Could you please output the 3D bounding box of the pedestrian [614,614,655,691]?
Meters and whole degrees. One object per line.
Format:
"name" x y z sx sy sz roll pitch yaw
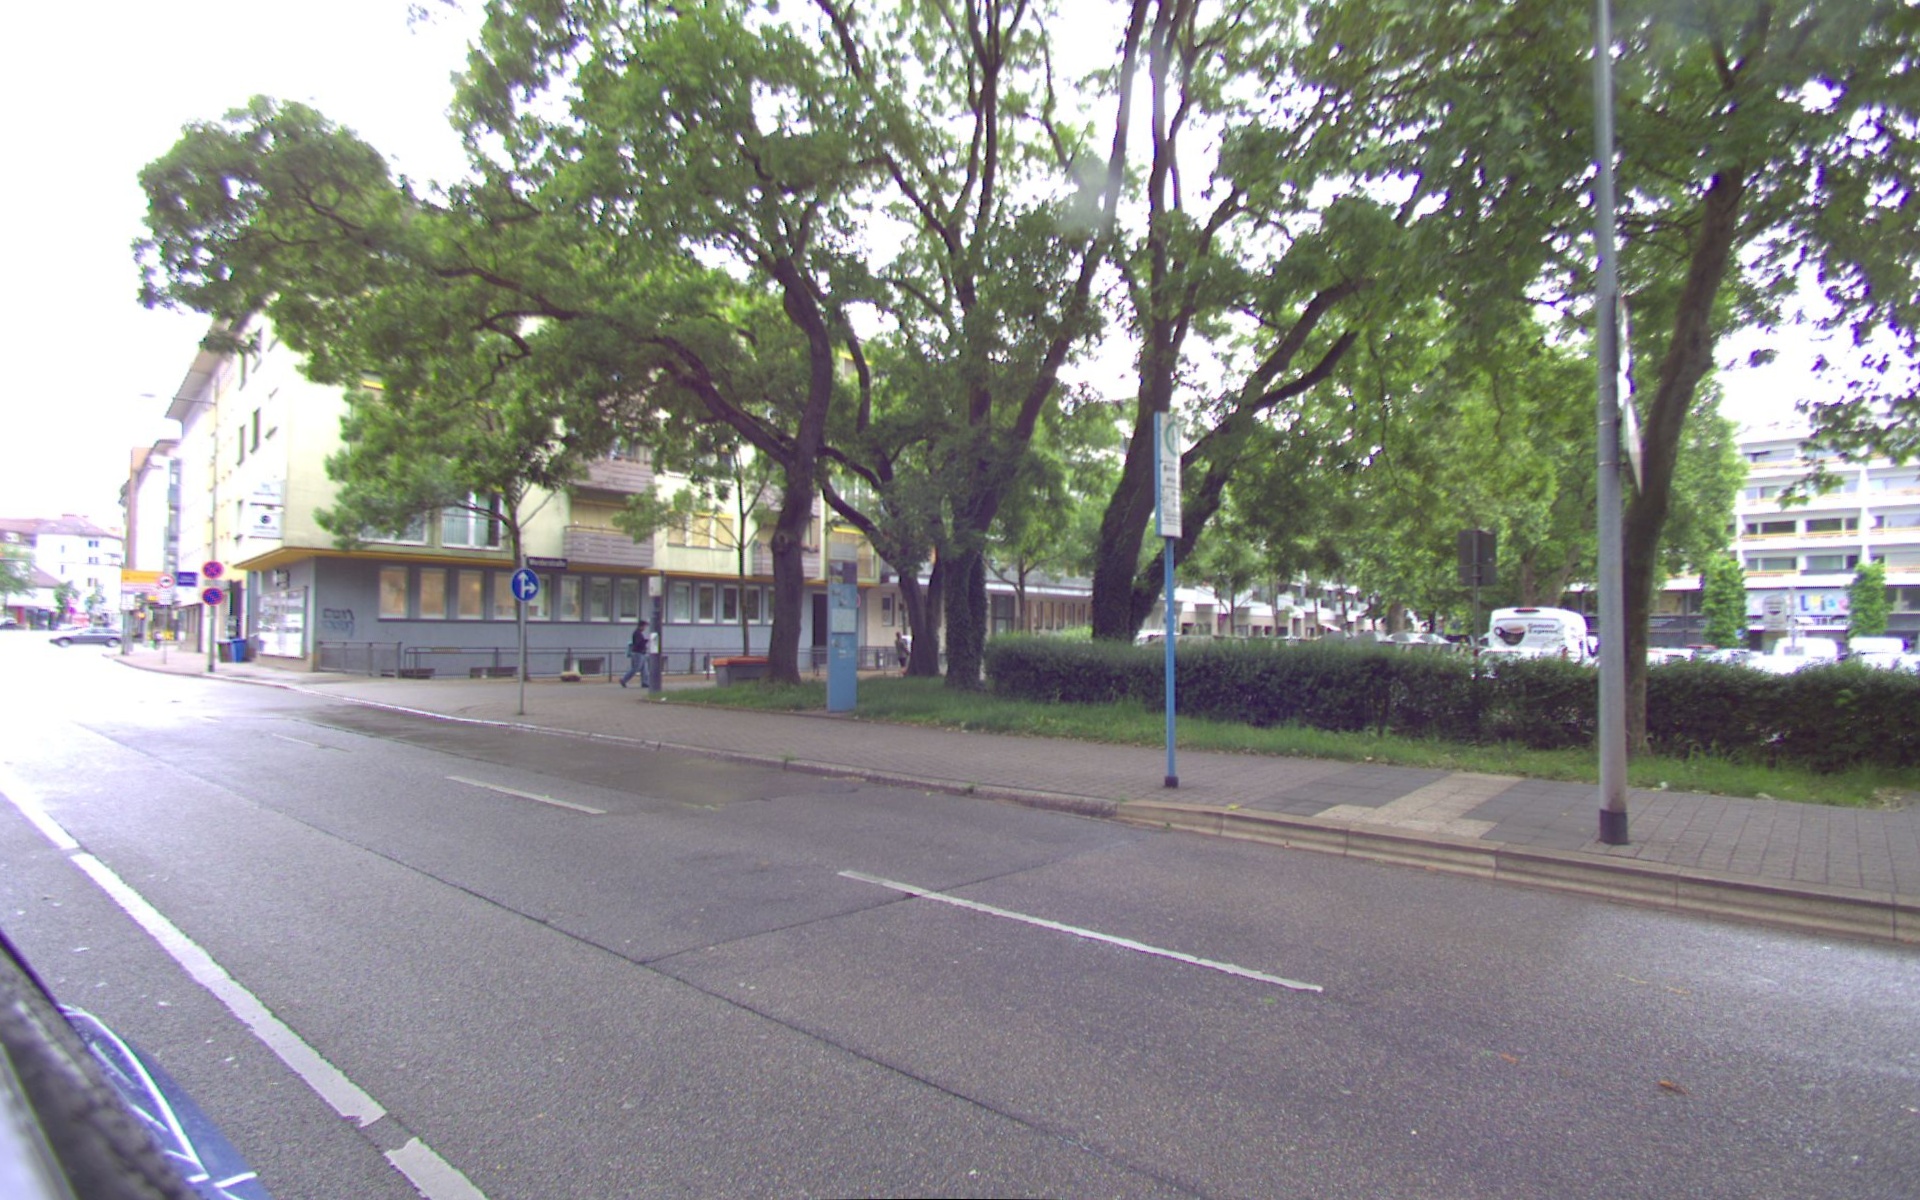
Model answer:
"pedestrian" -8.766 1.400 27.275 0.746 2.029 0.778 0 -2 16

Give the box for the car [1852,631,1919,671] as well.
"car" 40.324 2.177 44.149 1.895 1.497 3.948 -1 0 39

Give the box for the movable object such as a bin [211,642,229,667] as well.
"movable object such as a bin" -31.703 2.340 43.361 0.510 1.008 0.524 -3 1 -42

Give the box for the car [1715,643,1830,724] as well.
"car" 18.608 1.826 23.208 1.895 1.497 3.948 -1 0 39

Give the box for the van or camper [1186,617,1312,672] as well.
"van or camper" 14.241 2.153 49.302 2.561 2.420 8.535 -2 -3 41

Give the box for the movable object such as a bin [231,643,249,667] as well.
"movable object such as a bin" -29.748 2.270 41.822 0.522 0.968 0.435 -3 1 -42

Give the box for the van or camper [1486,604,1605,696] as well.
"van or camper" 16.930 1.412 29.174 2.099 2.450 4.280 -2 -3 42

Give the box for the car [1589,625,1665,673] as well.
"car" 24.055 1.708 36.433 1.895 1.497 3.948 -1 0 39

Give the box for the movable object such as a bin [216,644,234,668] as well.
"movable object such as a bin" -30.744 2.347 42.344 0.521 0.935 0.426 -3 1 -42

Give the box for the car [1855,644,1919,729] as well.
"car" 20.505 1.793 21.600 1.895 1.497 3.948 -1 0 39

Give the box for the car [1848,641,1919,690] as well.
"car" 33.357 2.315 36.452 1.895 1.497 3.948 -1 0 39

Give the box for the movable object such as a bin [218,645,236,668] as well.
"movable object such as a bin" -30.358 2.345 41.908 0.522 0.902 0.435 -3 1 -42

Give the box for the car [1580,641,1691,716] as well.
"car" 16.729 1.858 24.993 1.895 1.497 3.948 -1 0 39

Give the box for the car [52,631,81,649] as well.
"car" -82.224 3.658 93.132 1.807 1.634 4.007 2 -3 -39

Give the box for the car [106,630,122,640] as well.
"car" -126.787 5.258 151.708 1.567 1.539 3.496 2 -3 -36

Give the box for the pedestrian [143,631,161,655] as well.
"pedestrian" -53.631 2.841 67.169 0.773 1.600 0.675 -1 -1 -29

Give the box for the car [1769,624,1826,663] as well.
"car" 41.894 2.140 50.671 2.097 1.735 3.948 -1 0 39

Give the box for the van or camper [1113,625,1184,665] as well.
"van or camper" 10.404 2.488 55.604 1.825 2.029 4.576 1 -2 38

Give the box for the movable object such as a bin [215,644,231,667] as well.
"movable object such as a bin" -31.165 2.342 42.792 0.458 0.935 0.429 -3 1 -42

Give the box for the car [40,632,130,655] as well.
"car" -64.938 3.220 75.188 4.897 1.618 1.563 3 -4 -45

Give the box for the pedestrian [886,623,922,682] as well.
"pedestrian" -1.886 1.759 34.147 0.906 1.939 0.820 2 -3 -43
